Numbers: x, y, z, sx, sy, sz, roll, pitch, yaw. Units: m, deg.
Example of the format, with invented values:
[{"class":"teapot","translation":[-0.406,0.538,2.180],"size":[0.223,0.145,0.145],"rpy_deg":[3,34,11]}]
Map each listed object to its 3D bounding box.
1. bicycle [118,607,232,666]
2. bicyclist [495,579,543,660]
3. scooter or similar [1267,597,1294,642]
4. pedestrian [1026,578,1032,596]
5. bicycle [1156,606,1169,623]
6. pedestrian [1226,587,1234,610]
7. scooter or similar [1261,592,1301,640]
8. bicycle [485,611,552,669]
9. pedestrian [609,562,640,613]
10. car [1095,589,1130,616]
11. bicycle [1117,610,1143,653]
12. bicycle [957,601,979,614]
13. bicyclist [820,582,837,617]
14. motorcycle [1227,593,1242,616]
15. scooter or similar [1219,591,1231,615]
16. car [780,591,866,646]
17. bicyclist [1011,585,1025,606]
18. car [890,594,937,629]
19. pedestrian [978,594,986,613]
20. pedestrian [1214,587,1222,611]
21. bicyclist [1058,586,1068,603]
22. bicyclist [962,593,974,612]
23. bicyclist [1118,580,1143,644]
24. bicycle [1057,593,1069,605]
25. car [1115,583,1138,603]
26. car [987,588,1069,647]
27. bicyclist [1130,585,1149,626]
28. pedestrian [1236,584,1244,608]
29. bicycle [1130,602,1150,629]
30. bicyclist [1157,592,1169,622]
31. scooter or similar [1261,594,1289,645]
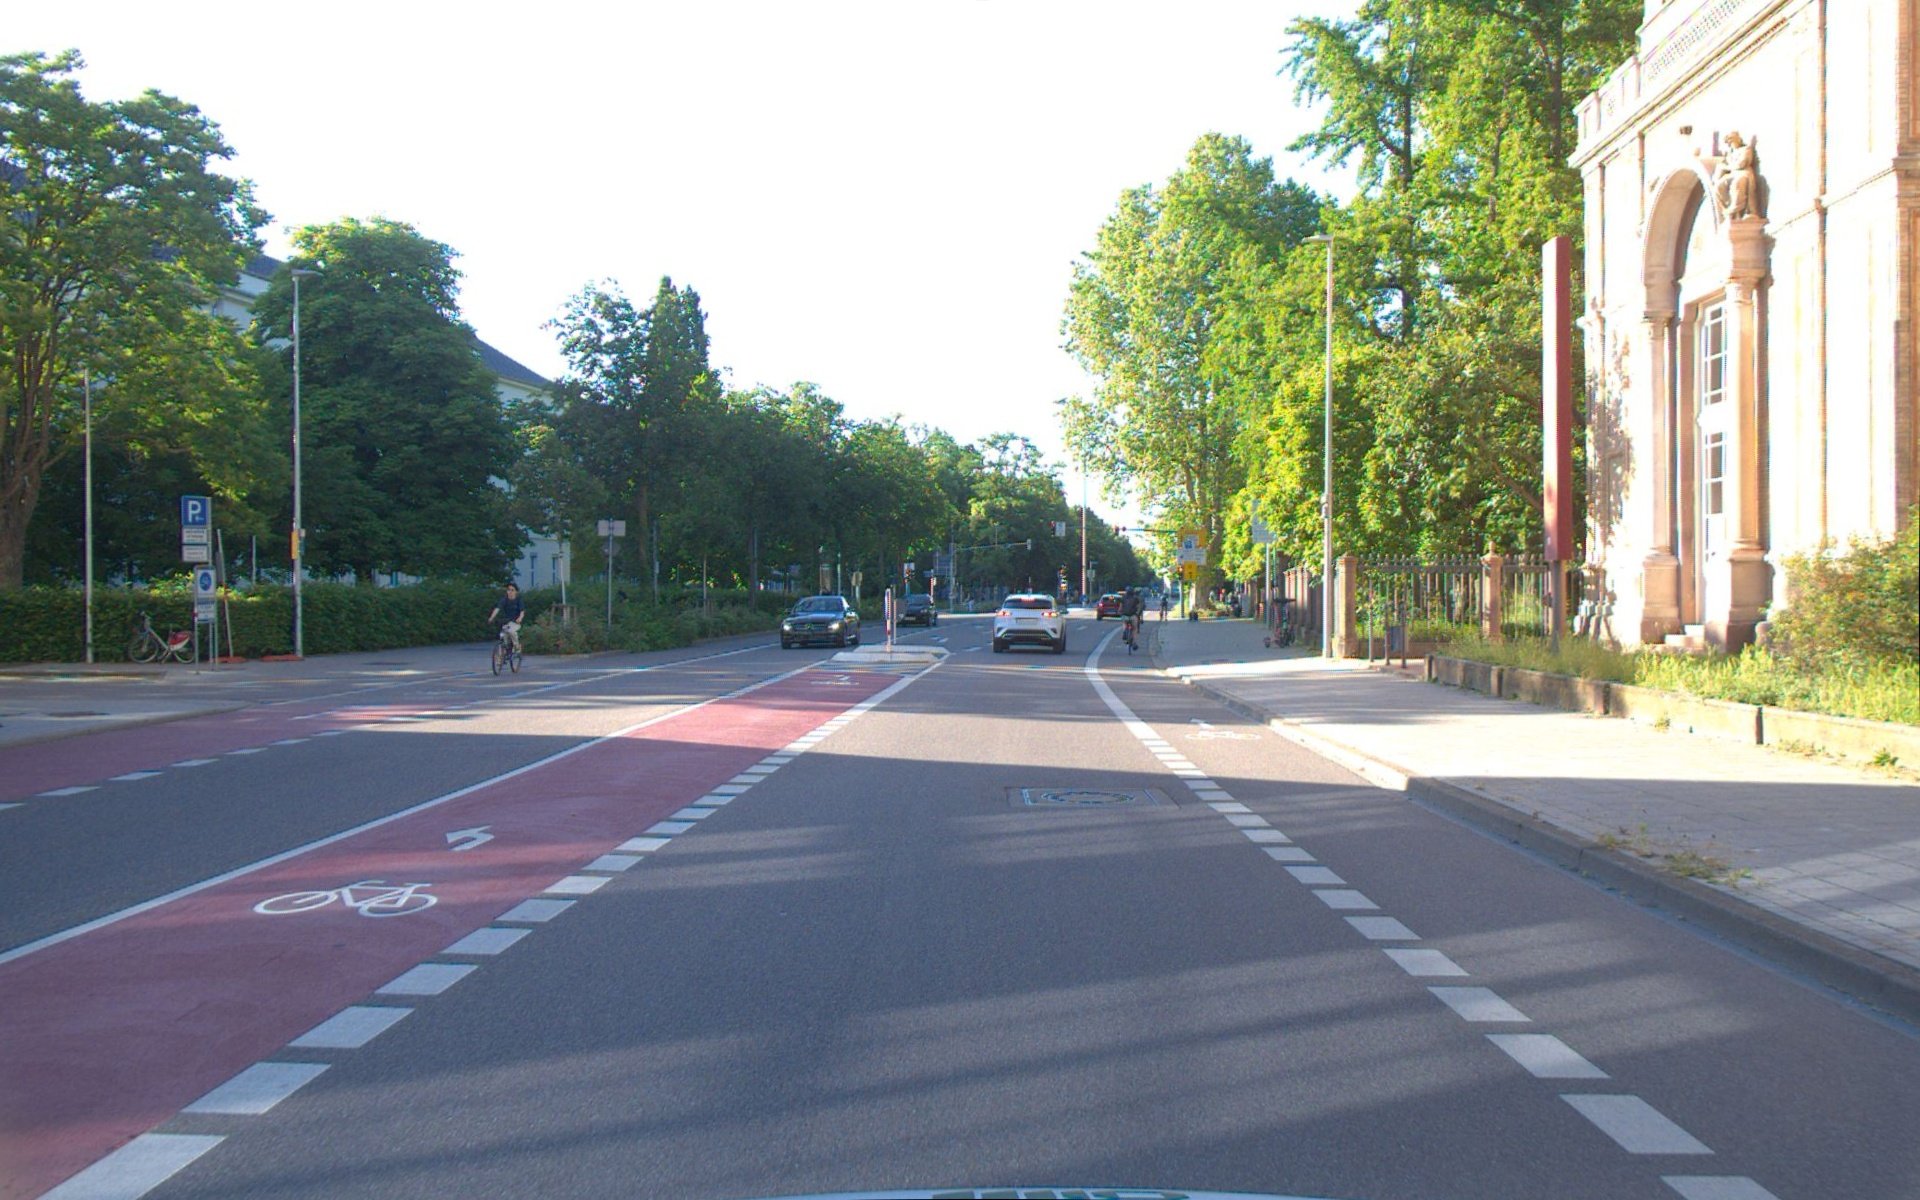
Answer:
[{"class":"bicycle","translation":[-17.065,0.793,35.960],"size":[2.270,1.251,0.560],"rpy_deg":[-1,0,6]},{"class":"bicyclist","translation":[-8.482,0.364,31.825],"size":[0.642,1.511,0.665],"rpy_deg":[-3,0,1]},{"class":"scooter or similar","translation":[8.306,0.502,42.893],"size":[0.470,1.142,1.337],"rpy_deg":[-1,0,3]},{"class":"pedestrian","translation":[7.853,-1.501,188.975],"size":[0.642,2.049,0.833],"rpy_deg":[-1,0,5]},{"class":"bicycle","translation":[12.061,0.859,98.405],"size":[0.737,1.044,1.871],"rpy_deg":[1,0,7]},{"class":"pedestrian","translation":[20.957,-0.113,128.440],"size":[0.472,1.668,0.432],"rpy_deg":[-4,3,14]},{"class":"scooter or similar","translation":[8.680,0.436,44.772],"size":[0.538,1.264,1.554],"rpy_deg":[-1,0,-10]},{"class":"bicycle","translation":[-8.463,0.750,31.776],"size":[0.638,1.013,2.110],"rpy_deg":[-2,0,1]},{"class":"pedestrian","translation":[-12.607,-0.461,62.155],"size":[0.837,1.884,1.002],"rpy_deg":[-1,0,5]},{"class":"car","translation":[8.979,0.143,97.185],"size":[1.888,1.560,4.003],"rpy_deg":[-1,0,7]},{"class":"bicycle","translation":[4.452,0.807,43.202],"size":[0.629,1.042,2.214],"rpy_deg":[1,0,6]},{"class":"bicycle","translation":[0.646,0.608,135.279],"size":[1.728,1.007,0.512],"rpy_deg":[-1,0,14]},{"class":"bicyclist","translation":[-6.030,-0.012,75.834],"size":[0.616,1.549,0.725],"rpy_deg":[-3,0,4]},{"class":"motorcycle","translation":[14.981,0.250,90.422],"size":[0.648,1.188,2.329],"rpy_deg":[-3,0,7]},{"class":"scooter or similar","translation":[15.548,0.173,97.187],"size":[0.554,1.407,1.857],"rpy_deg":[-1,0,6]},{"class":"car","translation":[-3.807,0.479,46.600],"size":[1.773,1.444,4.557],"rpy_deg":[-1,0,3]},{"class":"bicyclist","translation":[5.093,-0.373,144.513],"size":[1.069,1.785,1.098],"rpy_deg":[-1,0,9]},{"class":"car","translation":[-2.049,0.501,74.003],"size":[1.721,1.484,4.002],"rpy_deg":[-1,0,4]},{"class":"pedestrian","translation":[2.254,0.323,169.512],"size":[0.637,1.921,0.663],"rpy_deg":[-1,0,10]},{"class":"pedestrian","translation":[20.046,-0.072,128.326],"size":[0.472,1.823,0.432],"rpy_deg":[-3,3,14]},{"class":"bicyclist","translation":[10.851,-0.573,173.906],"size":[0.935,1.735,1.233],"rpy_deg":[-1,0,9]},{"class":"bicyclist","translation":[0.670,0.240,135.273],"size":[0.902,1.535,0.507],"rpy_deg":[-1,0,14]},{"class":"bicyclist","translation":[4.445,0.294,43.128],"size":[0.622,1.642,1.285],"rpy_deg":[1,0,7]},{"class":"bicycle","translation":[10.847,-0.077,173.915],"size":[0.943,1.201,2.953],"rpy_deg":[-1,0,9]},{"class":"car","translation":[13.386,-0.543,132.574],"size":[1.700,1.573,4.003],"rpy_deg":[0,1,8]},{"class":"car","translation":[1.838,0.437,43.800],"size":[1.951,1.478,4.003],"rpy_deg":[-1,0,5]},{"class":"bicyclist","translation":[6.983,0.220,64.317],"size":[0.731,1.564,0.970],"rpy_deg":[0,0,7]},{"class":"pedestrian","translation":[21.900,-0.338,129.454],"size":[0.472,1.823,0.432],"rpy_deg":[-3,3,14]},{"class":"bicycle","translation":[7.000,0.595,64.355],"size":[0.737,1.044,1.871],"rpy_deg":[1,0,7]},{"class":"bicyclist","translation":[12.083,0.395,98.478],"size":[0.734,1.780,0.844],"rpy_deg":[1,0,7]},{"class":"scooter or similar","translation":[7.971,0.487,41.862],"size":[0.291,1.261,1.159],"rpy_deg":[-1,0,-9]}]
